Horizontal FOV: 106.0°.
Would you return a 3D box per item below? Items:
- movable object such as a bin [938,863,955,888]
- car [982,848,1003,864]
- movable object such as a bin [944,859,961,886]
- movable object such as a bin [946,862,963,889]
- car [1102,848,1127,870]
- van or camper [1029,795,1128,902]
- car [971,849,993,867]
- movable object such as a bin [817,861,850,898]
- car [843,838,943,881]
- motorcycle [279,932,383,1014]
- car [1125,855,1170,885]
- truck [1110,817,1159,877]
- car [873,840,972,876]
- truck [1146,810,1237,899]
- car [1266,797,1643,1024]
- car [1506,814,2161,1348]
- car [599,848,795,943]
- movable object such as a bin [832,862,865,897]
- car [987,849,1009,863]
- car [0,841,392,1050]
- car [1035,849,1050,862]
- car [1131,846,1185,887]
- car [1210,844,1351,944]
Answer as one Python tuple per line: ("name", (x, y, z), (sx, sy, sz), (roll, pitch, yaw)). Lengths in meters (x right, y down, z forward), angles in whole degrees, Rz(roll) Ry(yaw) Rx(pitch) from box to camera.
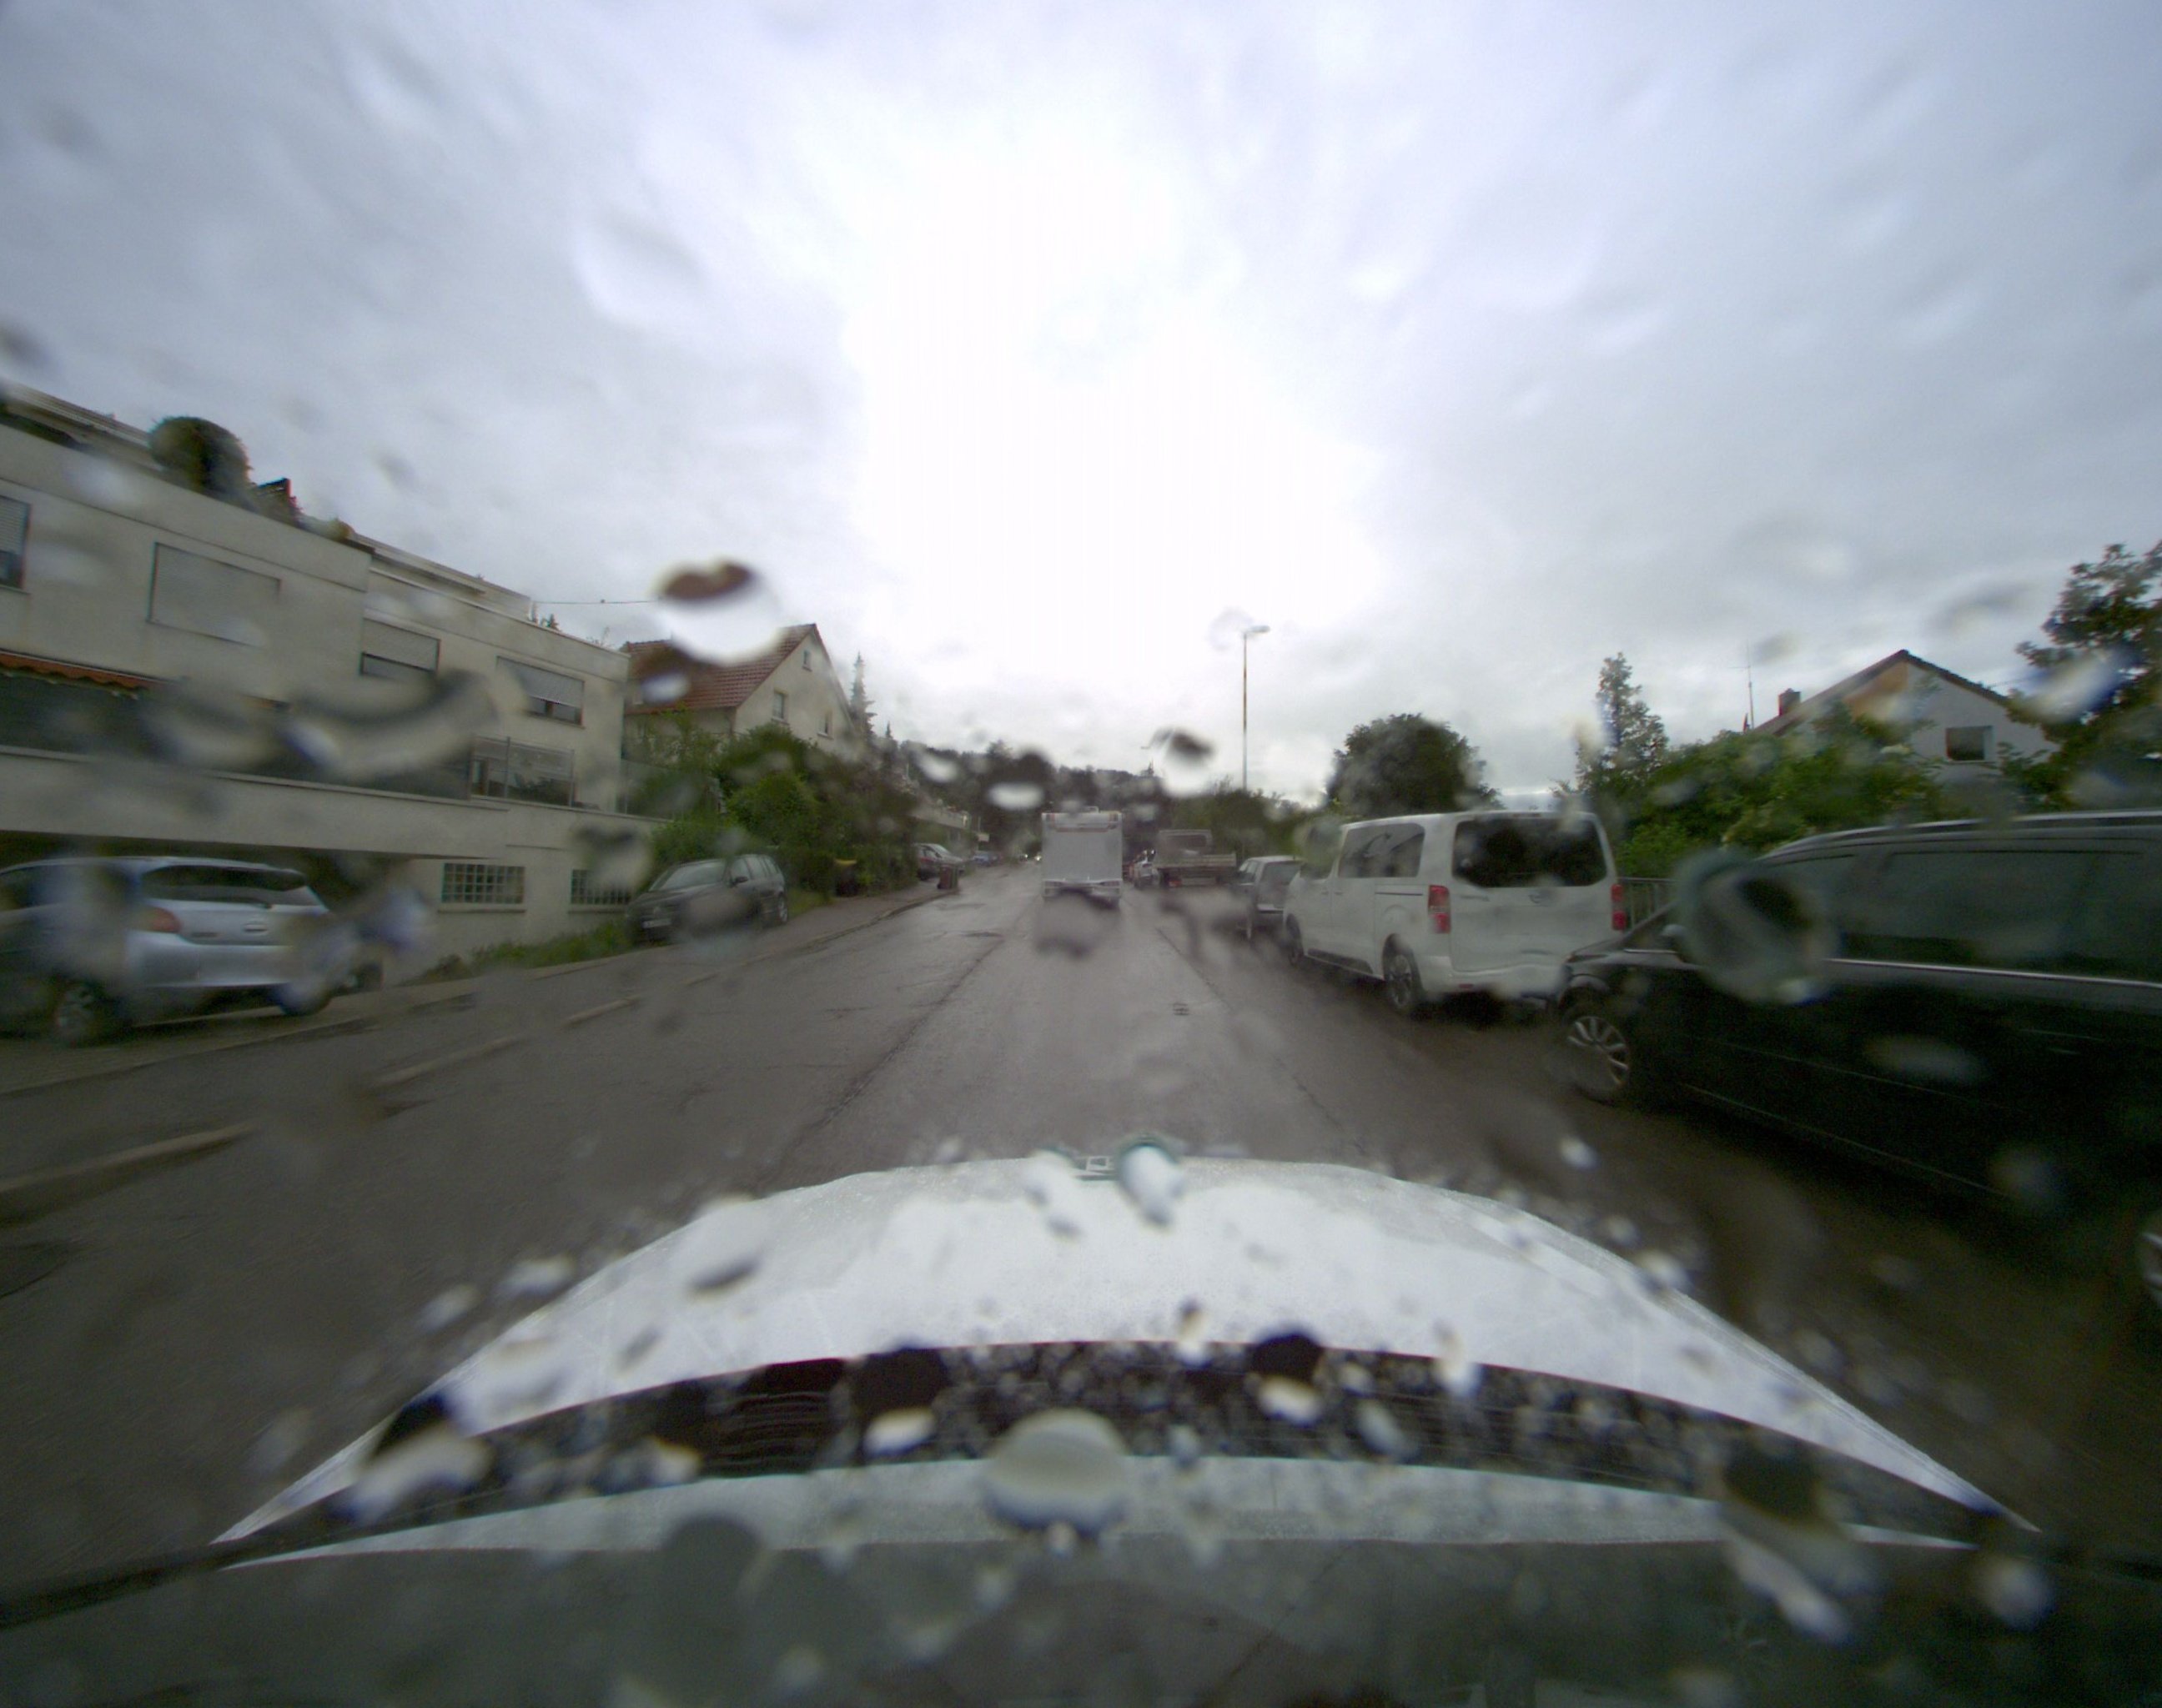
("movable object such as a bin", (-5.248, 0.833, 31.730), (0.601, 0.928, 0.563), (1, 0, -5))
("car", (-8.776, 0.187, 80.991), (1.628, 1.396, 4.238), (4, 0, 0))
("movable object such as a bin", (-5.151, 0.735, 32.562), (0.601, 1.064, 0.637), (1, 0, -5))
("movable object such as a bin", (-5.162, 0.857, 33.168), (0.601, 1.064, 0.697), (1, 0, -5))
("car", (2.702, 0.404, 66.264), (1.929, 1.672, 4.695), (-1, 0, 1))
("van or camper", (-0.061, -0.078, 25.075), (2.607, 2.853, 6.029), (1, -2, 0))
("car", (-9.114, 0.347, 75.216), (1.603, 1.434, 3.957), (4, 1, -1))
("movable object such as a bin", (-7.572, 0.769, 24.928), (0.692, 1.083, 0.713), (-1, 0, 19))
("car", (-8.766, 0.249, 38.157), (4.027, 1.692, 1.900), (4, 0, 12))
("motorcycle", (-13.261, 2.071, 14.395), (1.870, 1.251, 0.649), (0, 0, 24))
("car", (3.402, 0.789, 42.625), (1.827, 1.438, 4.983), (-1, 0, -1))
("truck", (3.170, -0.376, 50.195), (2.429, 3.335, 7.962), (-1, 0, -1))
("car", (-9.045, 0.214, 46.567), (5.047, 1.944, 2.150), (-1, 0, 15))
("truck", (3.550, 0.025, 27.504), (2.231, 2.631, 6.538), (-1, 0, 1))
("car", (3.720, 0.478, 9.314), (1.844, 1.882, 4.905), (-1, 0, -3))
("car", (3.897, 0.650, 3.631), (1.640, 1.540, 4.351), (-1, 0, -2))
("car", (-7.320, 0.713, 16.095), (1.798, 1.597, 4.416), (-1, 0, -1))
("movable object such as a bin", (-7.306, 0.805, 25.629), (0.692, 1.083, 0.713), (-1, 0, 18))
("car", (-9.082, 0.204, 89.290), (1.769, 1.437, 4.587), (5, 0, 0))
("car", (-8.737, 0.850, 7.394), (3.799, 1.478, 1.810), (-7, -2, 14))
("car", (-5.198, 0.182, 109.820), (1.901, 1.607, 4.424), (1, 0, -3))
("car", (3.230, 0.516, 34.882), (1.754, 1.604, 4.664), (-1, 0, -1))
("car", (3.468, 0.639, 14.852), (1.642, 1.563, 3.963), (-1, 0, 1))
